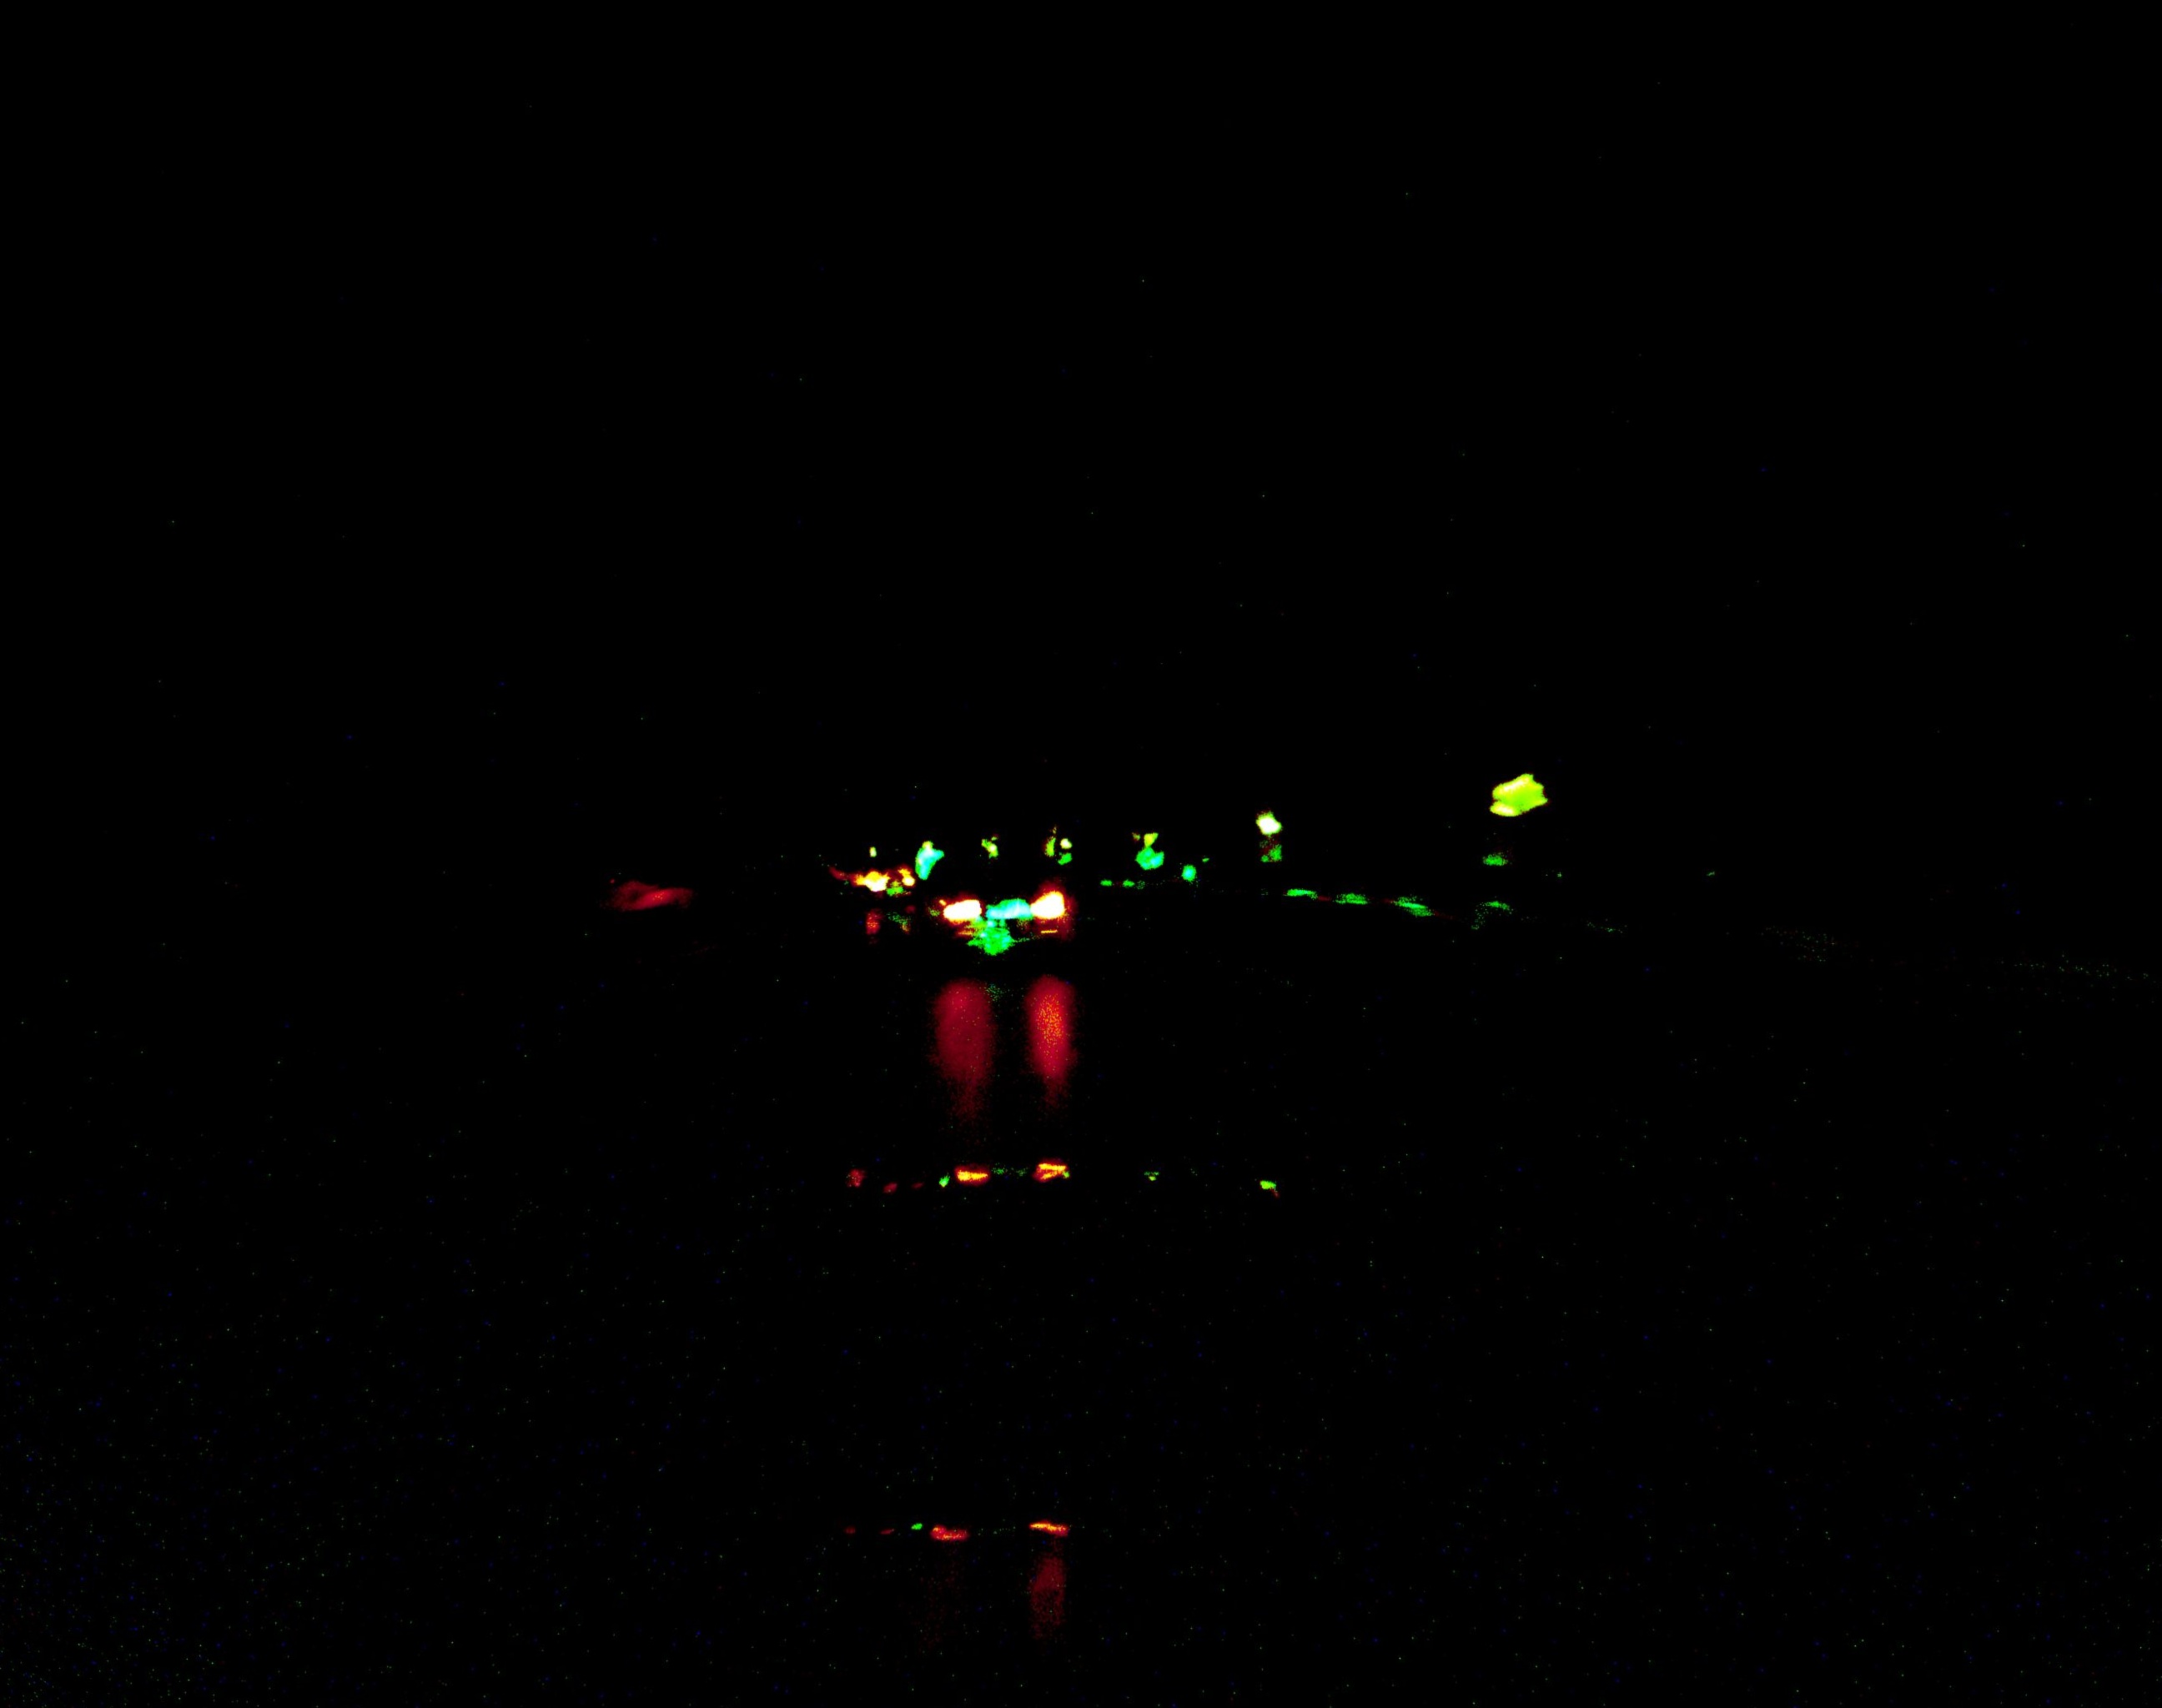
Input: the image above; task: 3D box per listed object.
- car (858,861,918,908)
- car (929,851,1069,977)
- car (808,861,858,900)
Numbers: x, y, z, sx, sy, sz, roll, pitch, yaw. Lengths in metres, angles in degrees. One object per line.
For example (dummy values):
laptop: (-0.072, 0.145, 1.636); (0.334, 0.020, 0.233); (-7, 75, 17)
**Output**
car: (-7.758, 1.161, 32.442); (1.901, 1.720, 4.019); (0, 0, -20)
car: (-1.409, 0.826, 13.223); (1.860, 1.647, 4.056); (-2, 0, -9)
car: (-13.911, 1.438, 45.487); (1.907, 2.040, 4.007); (0, -1, -29)
